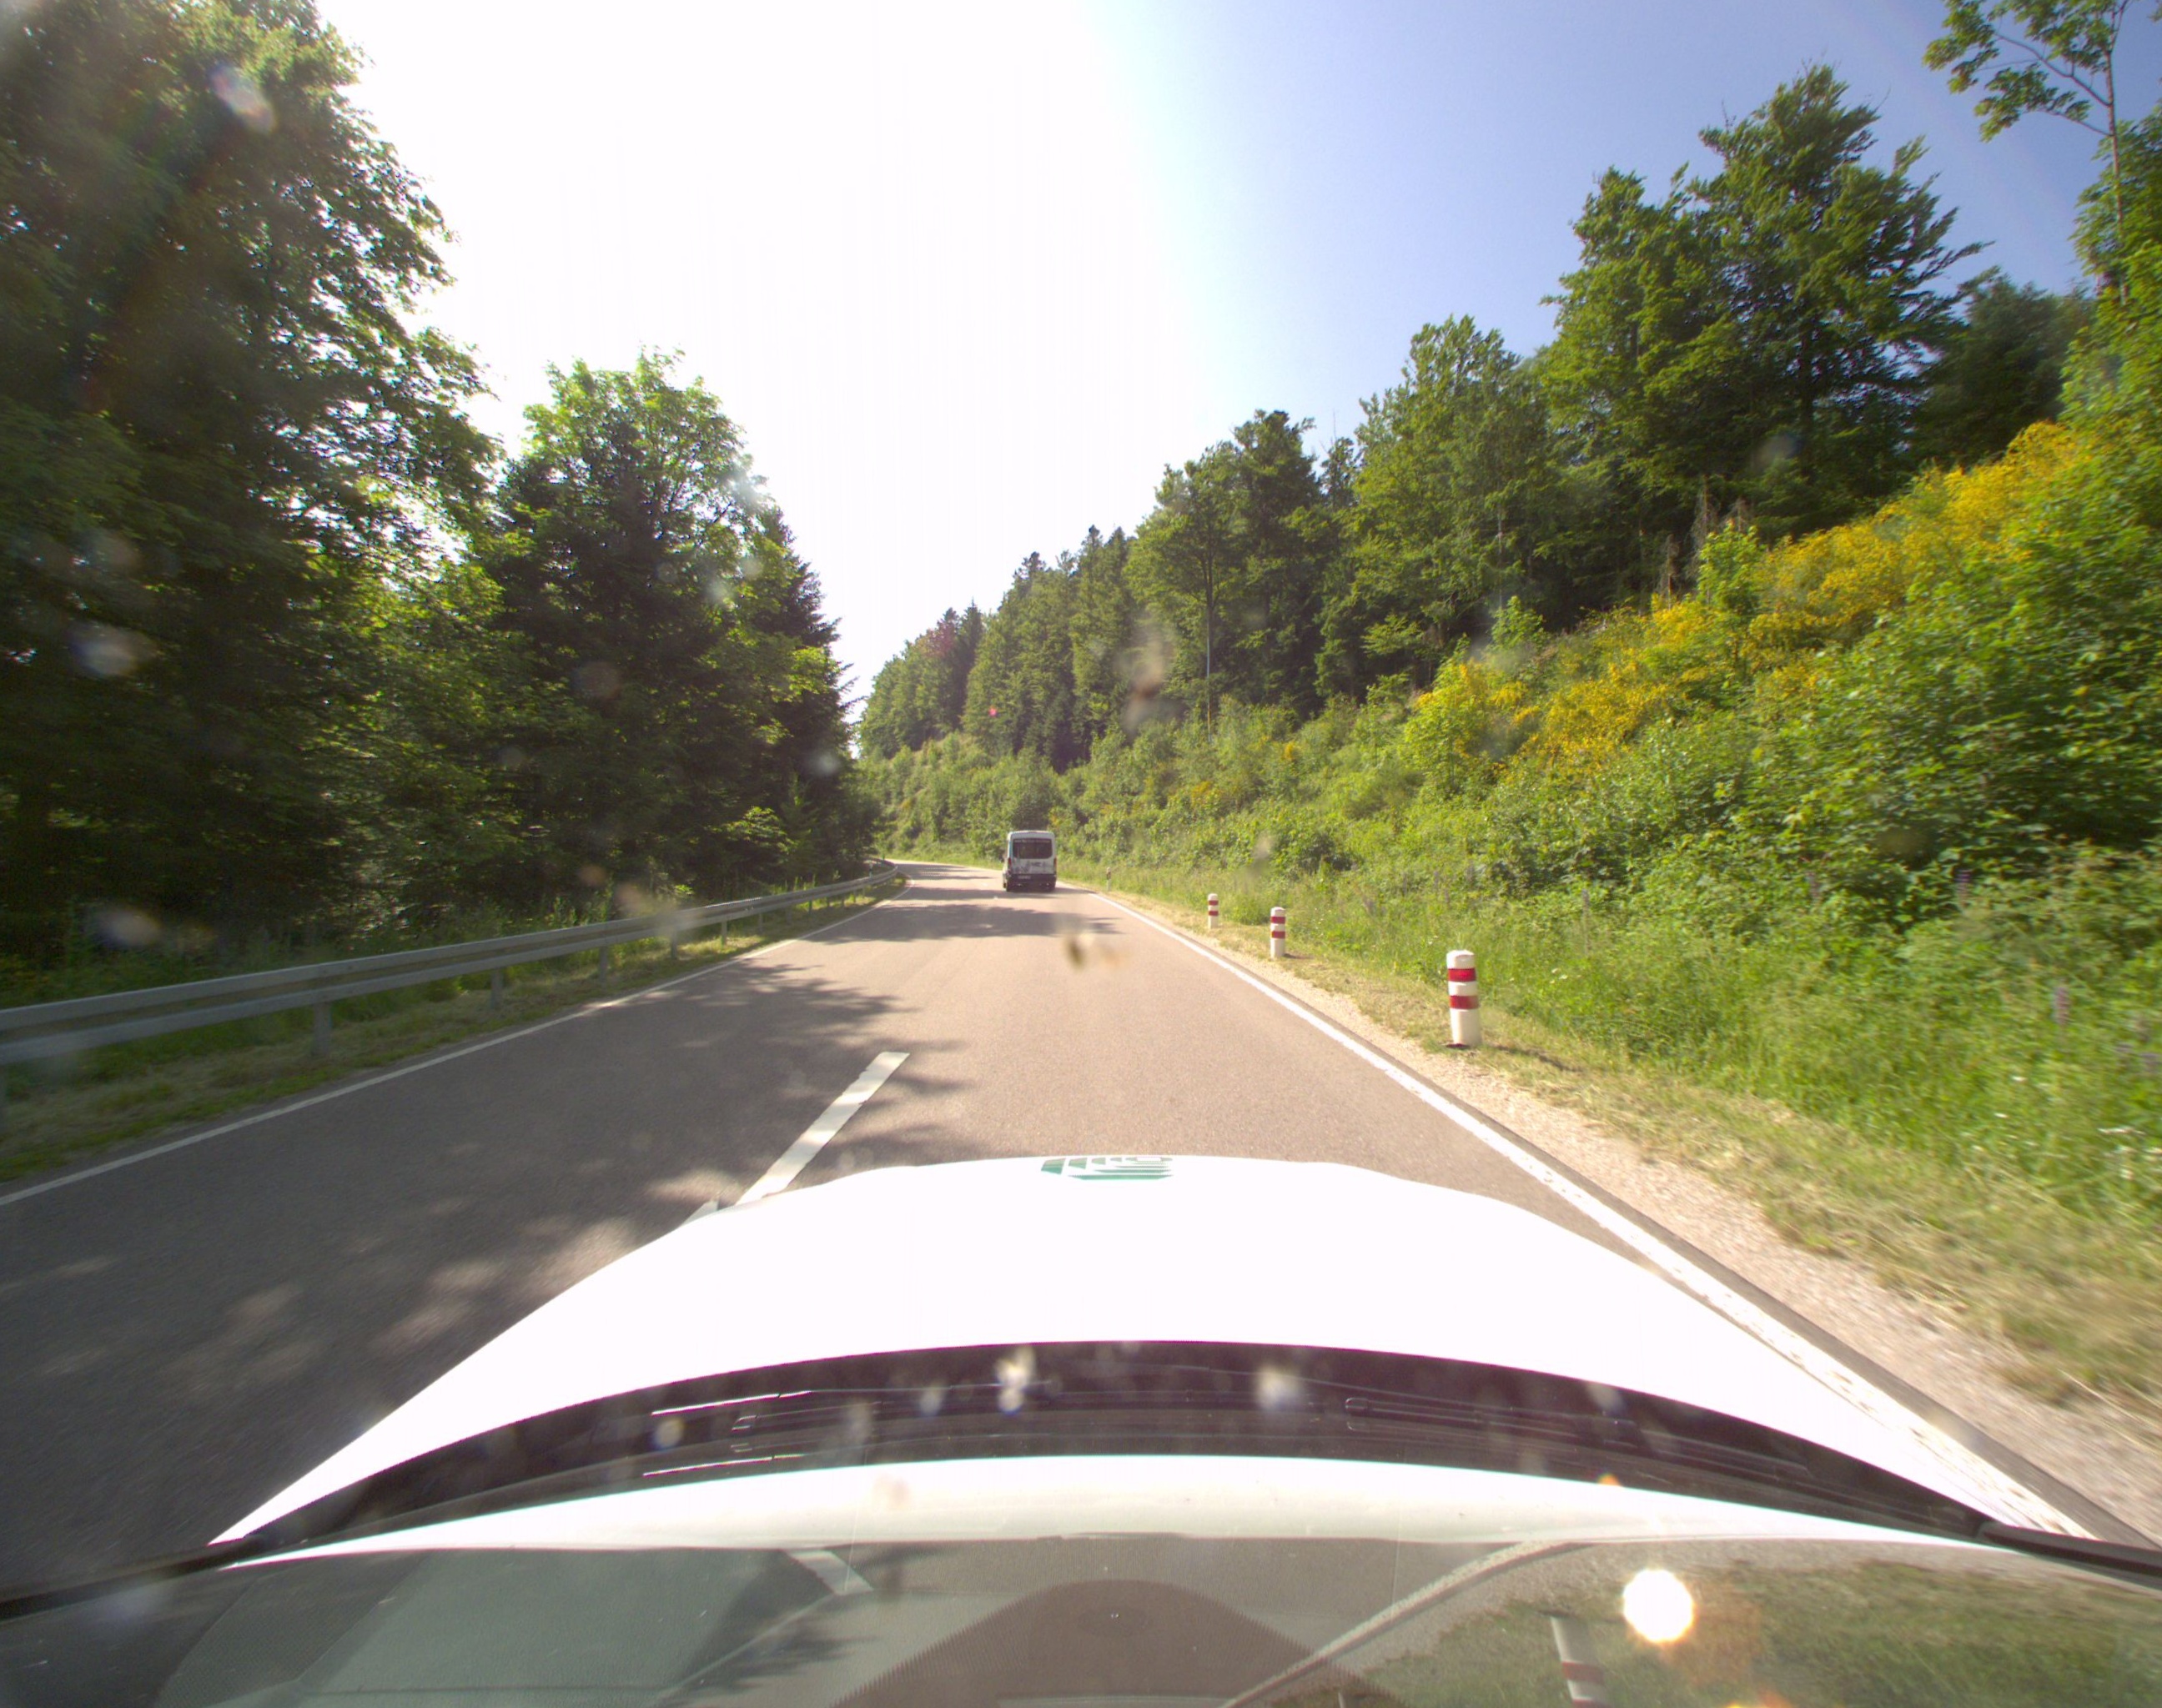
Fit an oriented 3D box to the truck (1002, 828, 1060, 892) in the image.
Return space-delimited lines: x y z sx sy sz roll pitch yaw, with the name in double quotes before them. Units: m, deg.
"truck" -2.222 0.222 34.814 2.114 2.498 5.346 -1 0 -7
